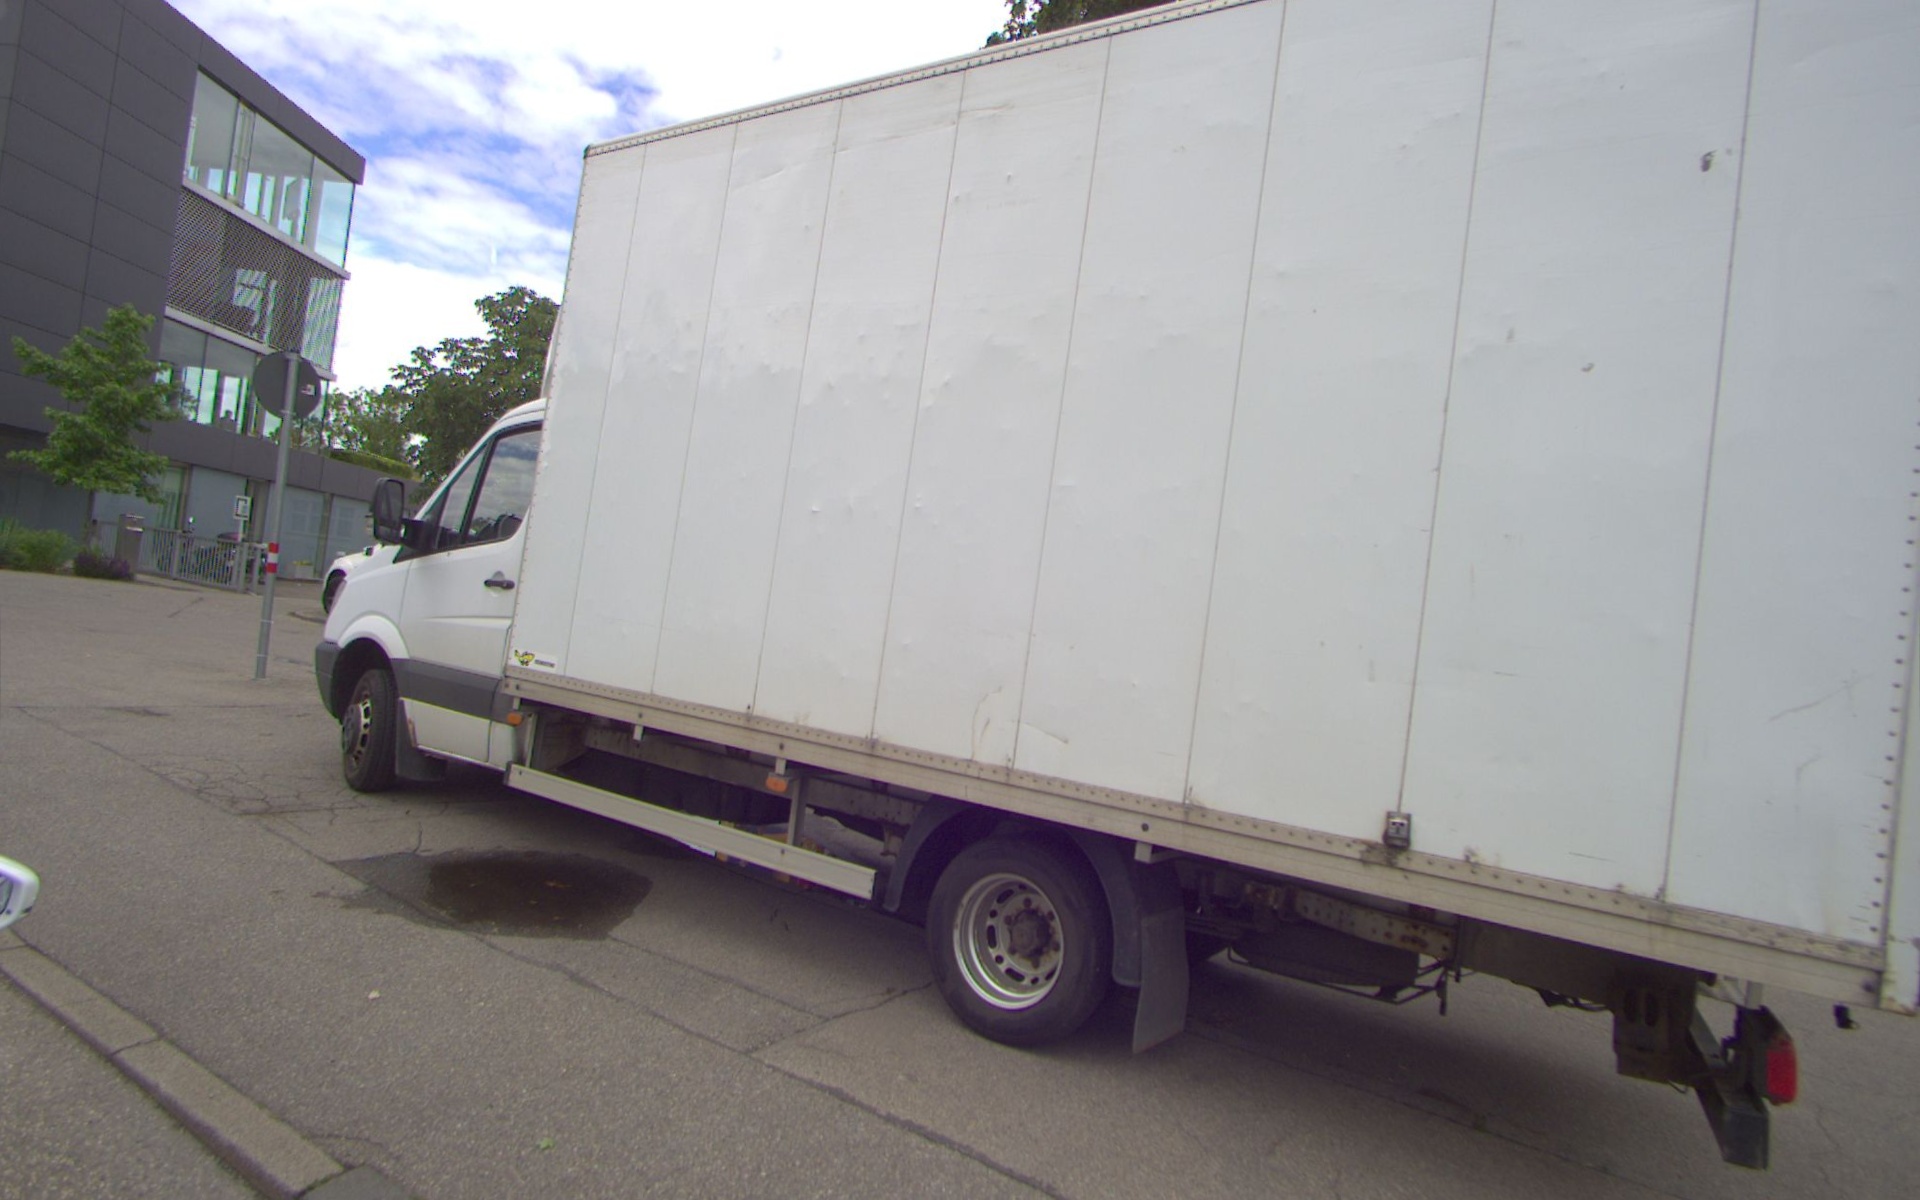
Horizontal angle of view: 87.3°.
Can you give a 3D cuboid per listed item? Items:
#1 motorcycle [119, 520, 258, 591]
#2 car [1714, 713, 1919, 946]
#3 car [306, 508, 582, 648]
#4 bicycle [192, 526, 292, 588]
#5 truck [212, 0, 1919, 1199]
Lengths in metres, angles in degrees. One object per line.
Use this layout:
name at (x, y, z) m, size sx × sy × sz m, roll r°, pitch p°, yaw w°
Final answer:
motorcycle at (-18.386, -1.049, 24.007) m, size 2.643 × 1.275 × 0.849 m, roll 8°, pitch 0°, yaw 5°
car at (7.763, 1.829, 7.180) m, size 1.765 × 1.491 × 3.805 m, roll 8°, pitch -1°, yaw 1°
car at (-8.818, -0.392, 17.108) m, size 4.442 × 1.861 × 1.996 m, roll 6°, pitch 0°, yaw 30°
bicycle at (-18.484, -1.106, 25.913) m, size 2.063 × 1.275 × 0.616 m, roll 8°, pitch 0°, yaw 5°
truck at (-0.380, -0.320, 5.088) m, size 7.681 × 3.567 × 2.577 m, roll 7°, pitch 0°, yaw 32°
